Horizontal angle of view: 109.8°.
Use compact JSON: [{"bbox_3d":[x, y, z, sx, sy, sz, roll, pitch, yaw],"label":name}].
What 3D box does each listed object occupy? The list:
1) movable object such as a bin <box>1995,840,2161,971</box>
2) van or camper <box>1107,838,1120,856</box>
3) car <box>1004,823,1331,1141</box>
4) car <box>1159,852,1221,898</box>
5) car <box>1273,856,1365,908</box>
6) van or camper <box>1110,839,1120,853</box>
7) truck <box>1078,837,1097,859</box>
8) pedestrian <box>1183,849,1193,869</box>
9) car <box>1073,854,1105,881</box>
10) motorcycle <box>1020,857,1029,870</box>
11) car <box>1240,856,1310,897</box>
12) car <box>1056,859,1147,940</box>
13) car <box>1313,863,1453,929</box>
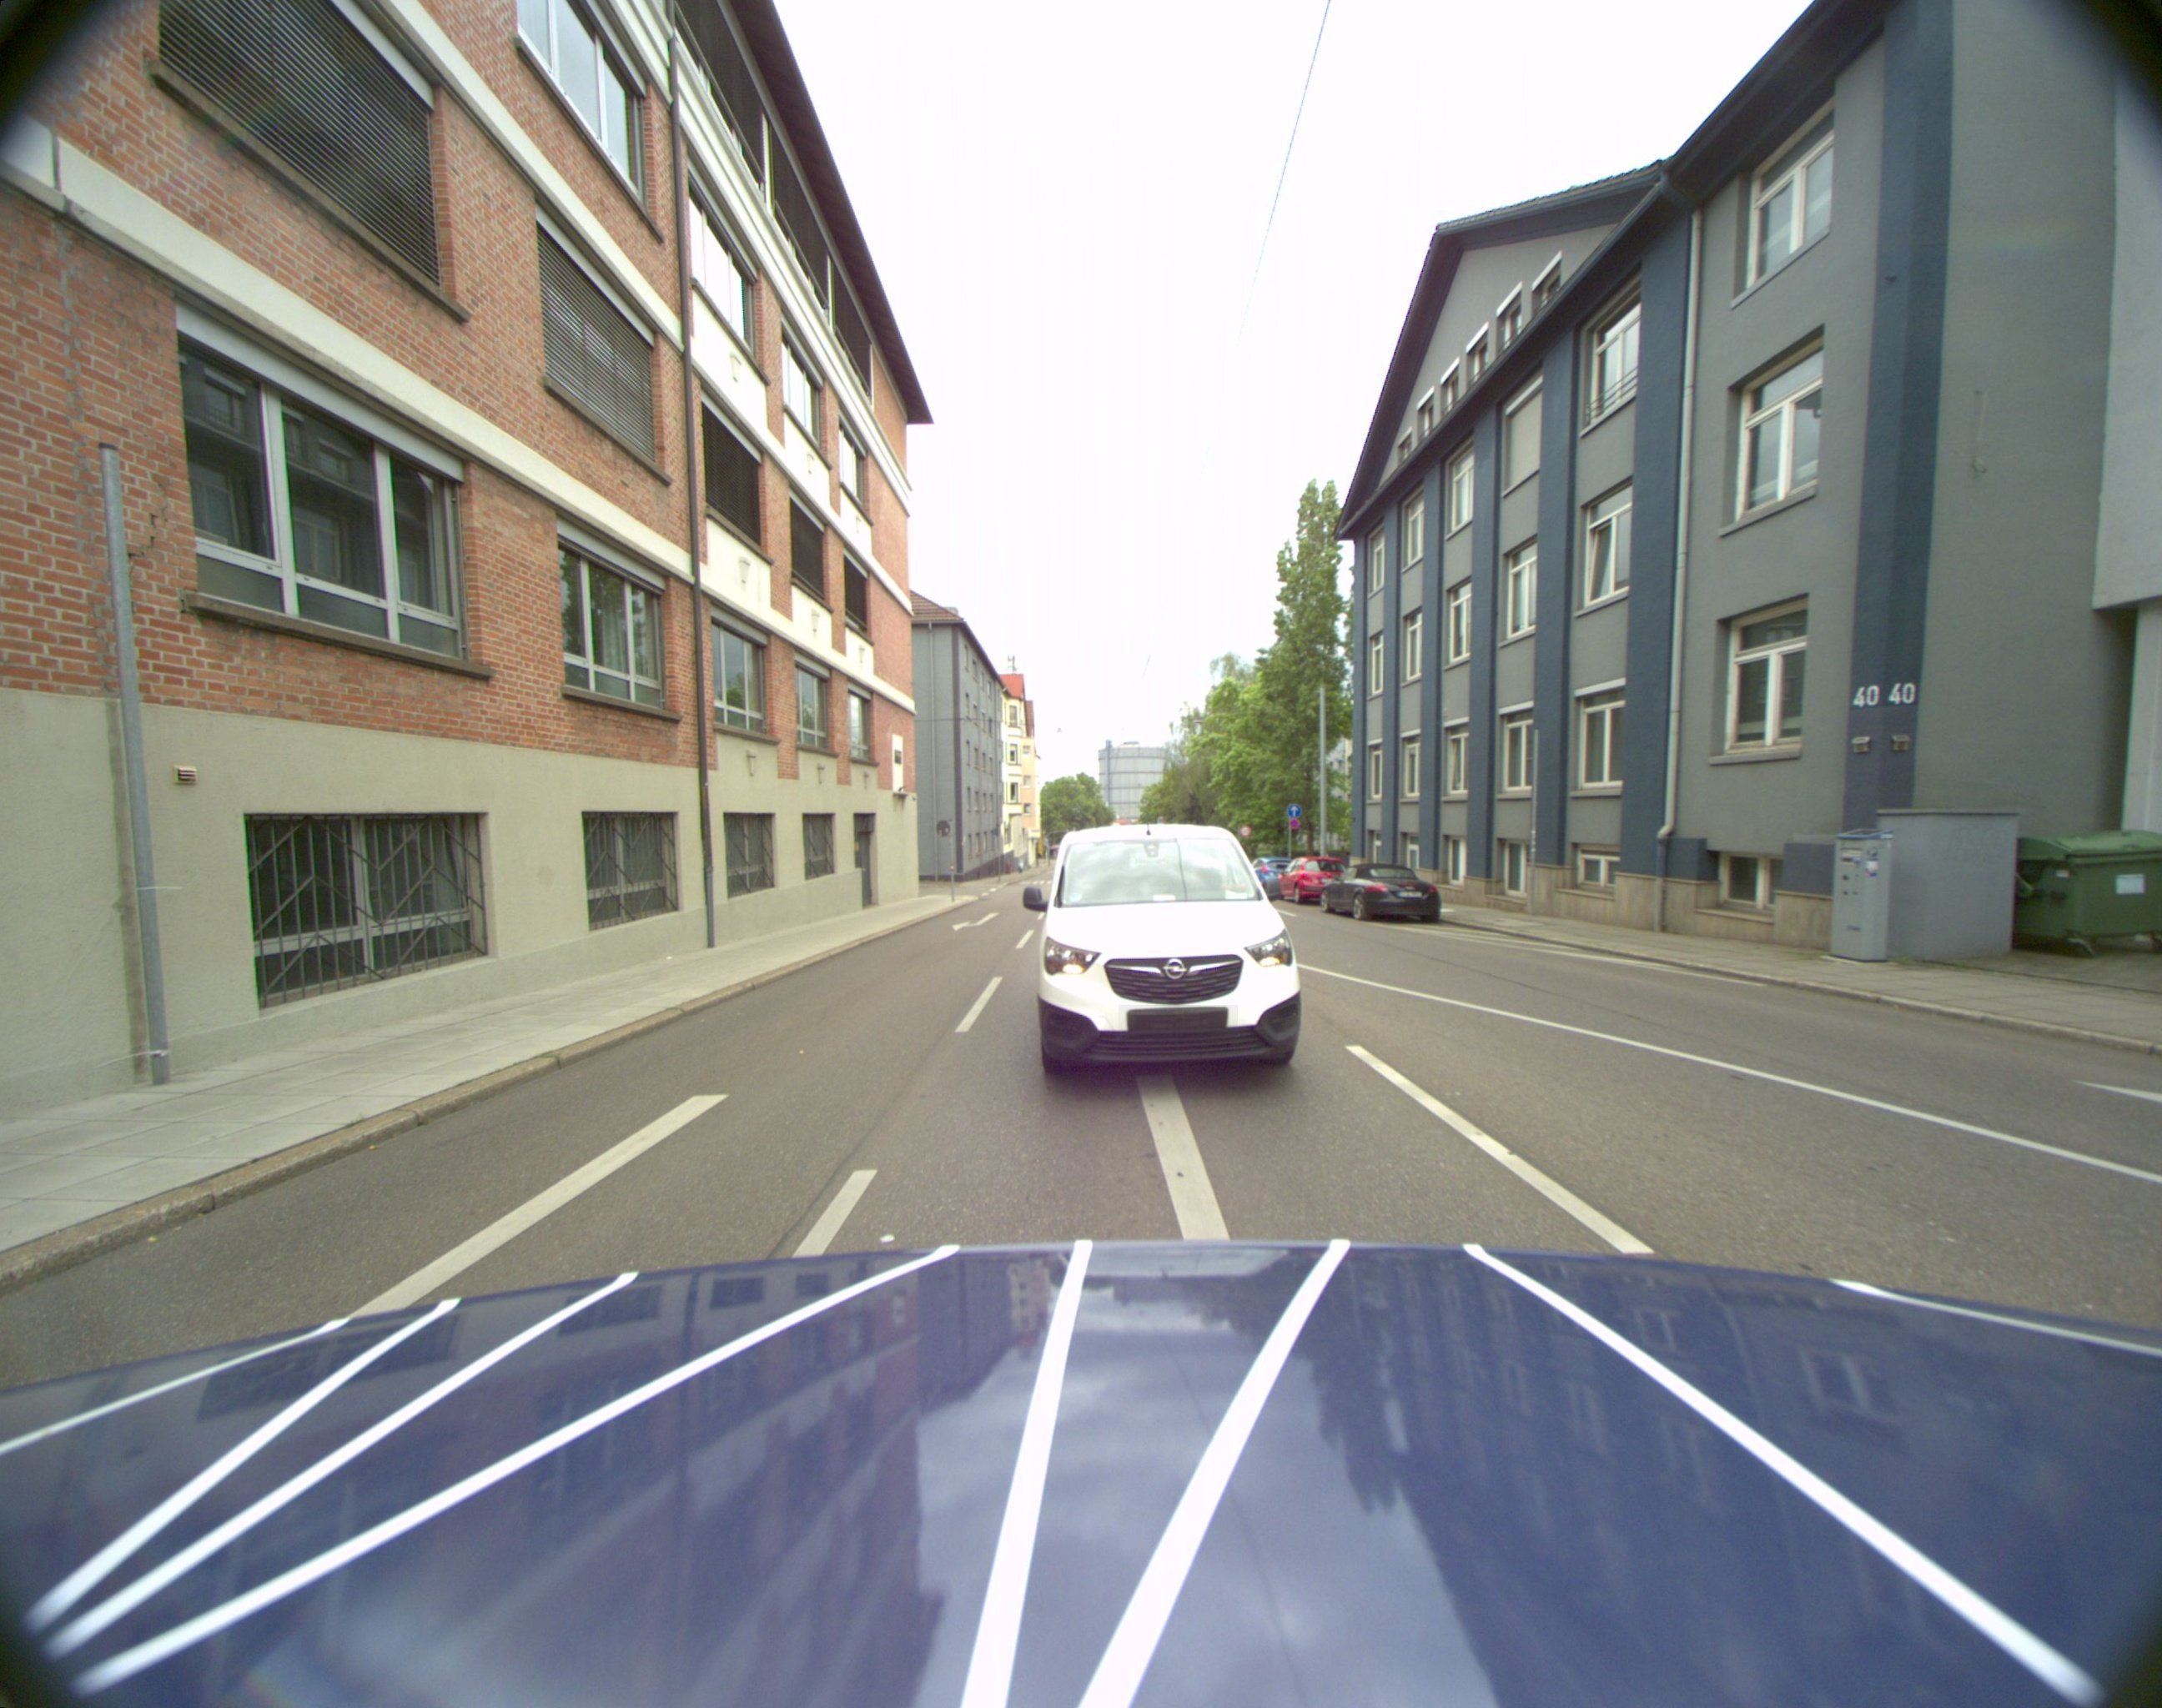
[{"bbox_3d":[12.103,0.588,9.110,1.267,1.448,0.784,-3,2,4],"label":"movable object such as a bin"},{"bbox_3d":[5.157,-1.038,119.929,1.914,2.754,5.925,1,0,2],"label":"van or camper"},{"bbox_3d":[0.550,0.742,6.912,1.840,1.797,4.939,-2,0,1],"label":"car"},{"bbox_3d":[4.049,0.722,28.766,1.708,1.578,3.936,2,0,0],"label":"car"},{"bbox_3d":[7.495,0.842,24.356,1.819,1.465,3.869,2,0,2],"label":"car"},{"bbox_3d":[6.694,-1.576,149.779,1.914,2.754,5.925,1,0,2],"label":"van or camper"},{"bbox_3d":[1.094,-1.021,125.719,2.980,3.394,9.358,-2,0,1],"label":"truck"},{"bbox_3d":[9.904,0.445,70.384,0.746,1.839,0.776,-1,1,2],"label":"pedestrian"},{"bbox_3d":[0.505,0.733,43.933,1.724,1.486,3.727,1,0,2],"label":"car"},{"bbox_3d":[-5.073,0.859,68.490,0.566,1.105,1.653,4,0,2],"label":"motorcycle"},{"bbox_3d":[7.529,0.832,29.823,1.724,1.445,3.727,1,0,0],"label":"car"},{"bbox_3d":[0.442,0.888,16.413,1.724,1.486,3.727,1,0,2],"label":"car"},{"bbox_3d":[7.176,0.936,18.516,1.724,1.319,4.040,2,0,-1],"label":"car"}]
